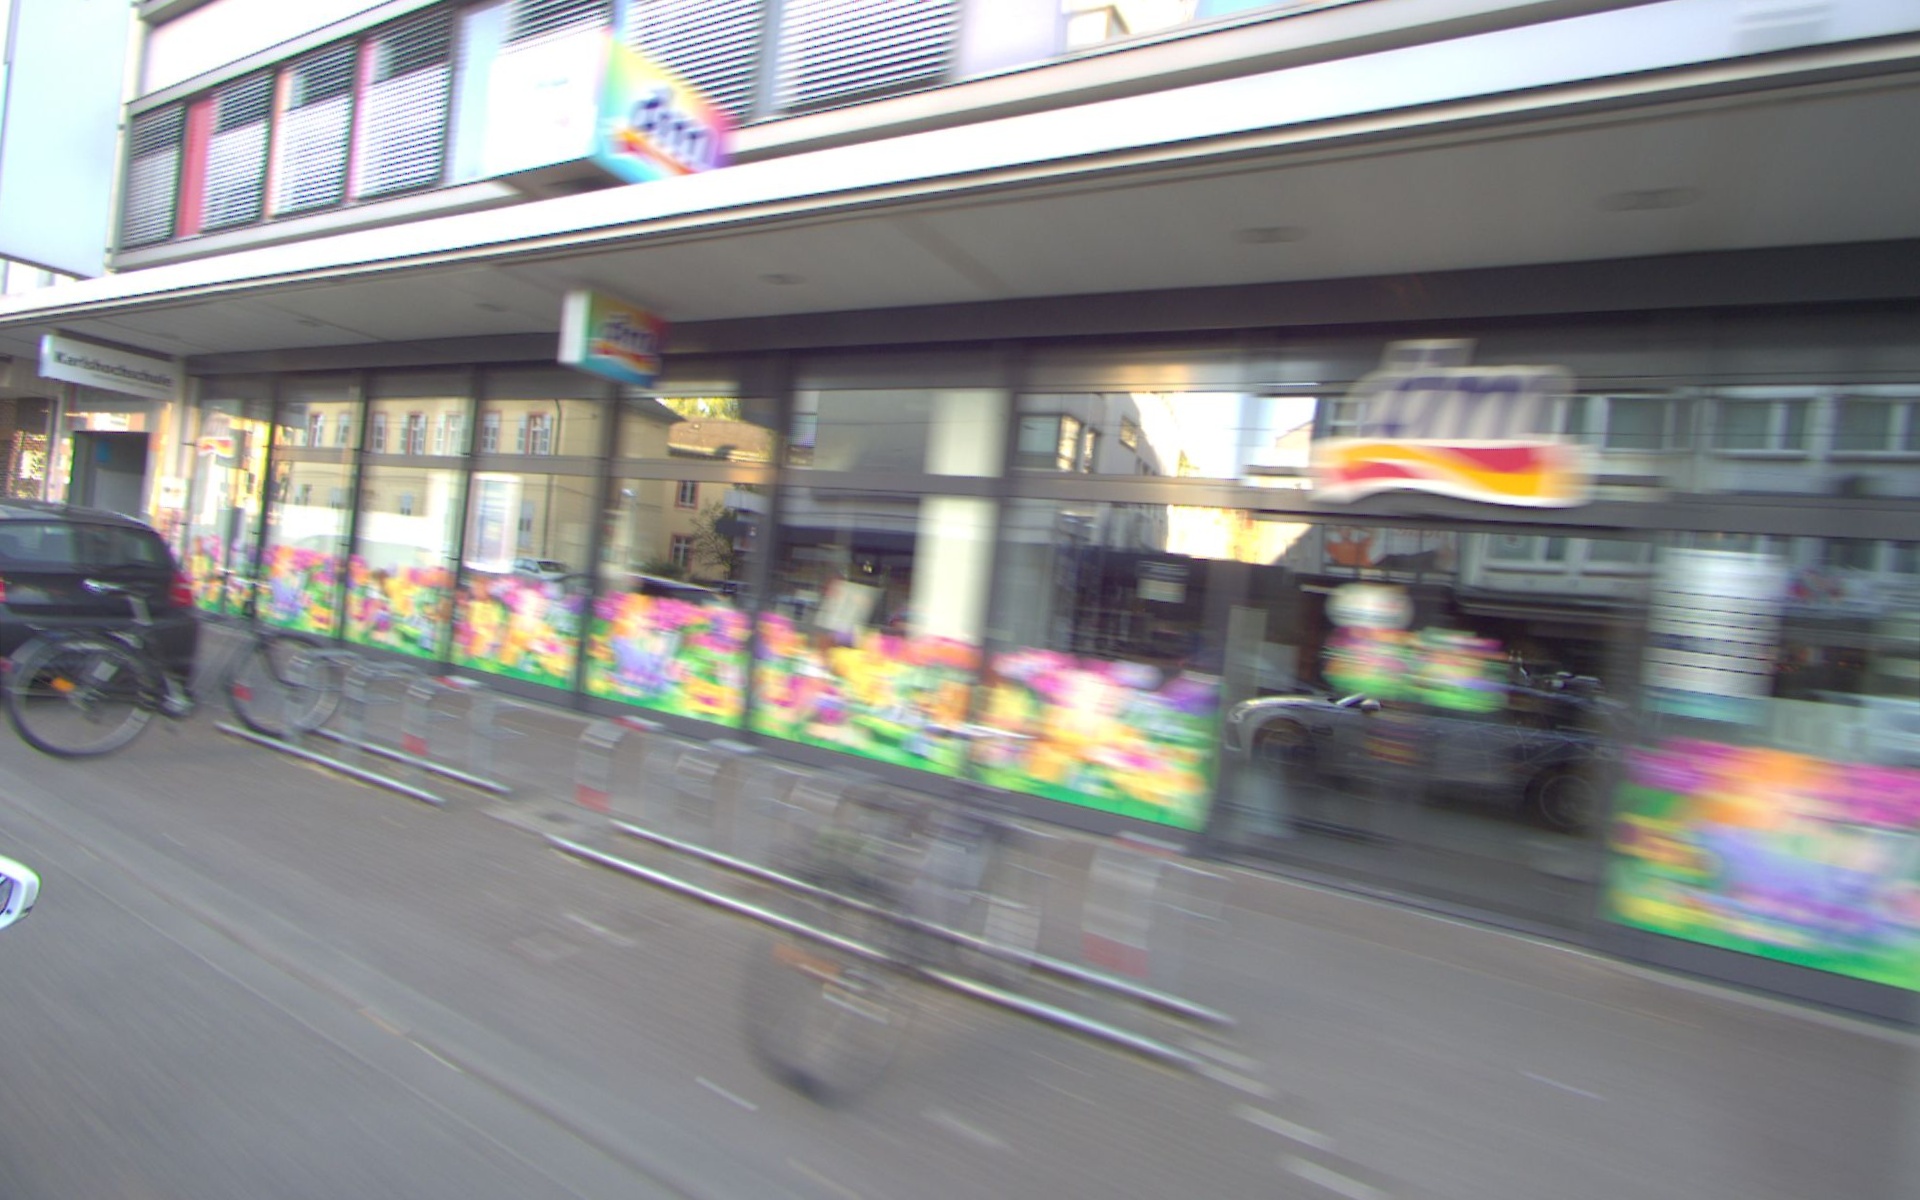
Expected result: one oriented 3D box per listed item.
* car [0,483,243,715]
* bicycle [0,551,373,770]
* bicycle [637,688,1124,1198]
[{"bbox_3d":[-7.839,-0.179,8.176,4.187,1.532,1.745,7,1,32],"label":"car"},{"bbox_3d":[-4.929,0.372,6.421,0.665,1.152,1.889,7,0,28],"label":"bicycle"},{"bbox_3d":[-0.120,0.936,3.467,0.665,1.091,1.887,7,2,28],"label":"bicycle"}]
